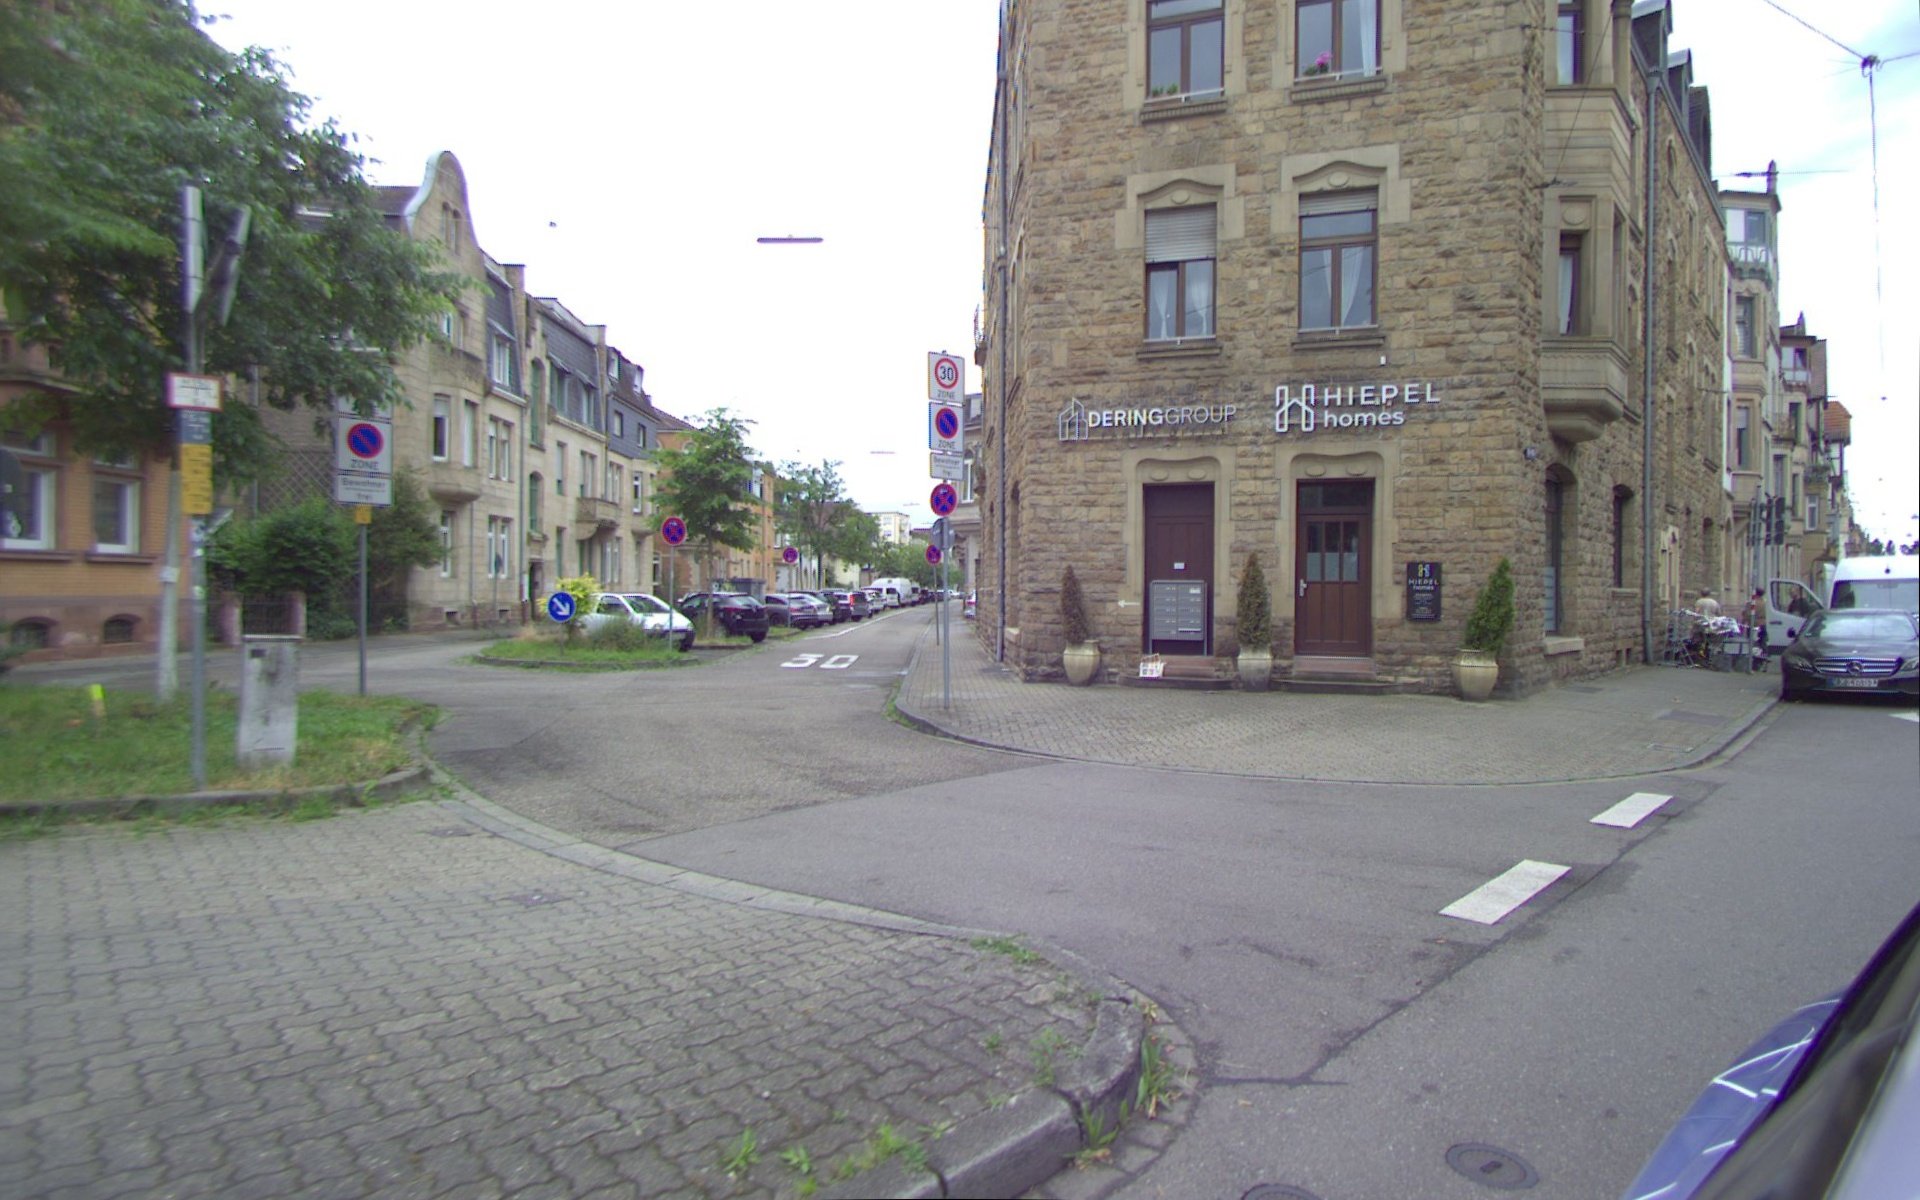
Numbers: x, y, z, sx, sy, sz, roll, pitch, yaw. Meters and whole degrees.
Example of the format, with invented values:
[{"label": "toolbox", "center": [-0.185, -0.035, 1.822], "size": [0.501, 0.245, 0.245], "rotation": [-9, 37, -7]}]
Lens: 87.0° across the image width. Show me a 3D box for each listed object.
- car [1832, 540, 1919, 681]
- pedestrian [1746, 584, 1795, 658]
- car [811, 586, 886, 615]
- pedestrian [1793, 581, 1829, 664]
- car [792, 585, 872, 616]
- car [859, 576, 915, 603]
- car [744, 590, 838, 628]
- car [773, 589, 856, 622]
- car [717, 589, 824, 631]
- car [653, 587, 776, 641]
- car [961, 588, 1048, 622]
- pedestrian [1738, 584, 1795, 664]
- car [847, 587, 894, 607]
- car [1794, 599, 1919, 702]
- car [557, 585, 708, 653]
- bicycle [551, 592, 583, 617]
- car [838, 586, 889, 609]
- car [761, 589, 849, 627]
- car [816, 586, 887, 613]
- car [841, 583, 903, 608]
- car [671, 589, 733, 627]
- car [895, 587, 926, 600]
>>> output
[{"label": "car", "center": [19.767, 0.185, 21.053], "size": [2.013, 2.581, 6.905], "rotation": [-2, -1, 44]}, {"label": "pedestrian", "center": [19.325, 0.490, 24.140], "size": [0.695, 1.721, 0.490], "rotation": [2, 1, 16]}, {"label": "car", "center": [-6.270, 0.011, 56.826], "size": [4.021, 1.529, 1.862], "rotation": [1, 1, 38]}, {"label": "pedestrian", "center": [19.385, 0.491, 23.058], "size": [0.499, 1.837, 0.790], "rotation": [3, 2, 45]}, {"label": "car", "center": [-6.731, 0.006, 53.134], "size": [4.021, 1.529, 1.862], "rotation": [1, 1, 38]}, {"label": "car", "center": [-7.101, -1.068, 98.373], "size": [5.296, 2.534, 2.317], "rotation": [1, 1, 38]}, {"label": "car", "center": [-7.282, 0.368, 43.482], "size": [4.022, 1.451, 1.732], "rotation": [2, 2, 38]}, {"label": "car", "center": [-7.244, 0.262, 50.202], "size": [4.022, 1.451, 1.732], "rotation": [2, 2, 38]}, {"label": "car", "center": [-7.567, 0.363, 40.264], "size": [4.009, 1.451, 1.737], "rotation": [2, 1, 30]}, {"label": "car", "center": [-7.426, 0.375, 30.513], "size": [3.520, 1.451, 1.686], "rotation": [2, 1, 35]}, {"label": "car", "center": [2.077, 0.223, 47.084], "size": [3.971, 1.451, 1.754], "rotation": [2, 1, 4]}, {"label": "pedestrian", "center": [18.066, 0.515, 22.689], "size": [0.858, 1.721, 0.532], "rotation": [3, 2, 30]}, {"label": "car", "center": [-6.987, -0.268, 78.654], "size": [1.851, 1.529, 4.044], "rotation": [0, 1, -34]}, {"label": "car", "center": [15.208, 0.729, 16.695], "size": [1.824, 1.468, 4.926], "rotation": [-1, 0, 44]}, {"label": "car", "center": [-8.097, 0.418, 24.931], "size": [3.516, 1.451, 1.688], "rotation": [2, 1, 32]}, {"label": "bicycle", "center": [-16.377, 0.173, 42.224], "size": [0.558, 1.015, 1.777], "rotation": [0, 0, 4]}, {"label": "car", "center": [-6.768, -0.165, 70.620], "size": [1.851, 1.529, 4.044], "rotation": [0, 1, -34]}, {"label": "car", "center": [-7.190, 0.325, 46.712], "size": [4.022, 1.551, 1.732], "rotation": [2, 1, 38]}, {"label": "car", "center": [-6.451, -0.029, 59.969], "size": [4.021, 1.529, 1.862], "rotation": [1, 1, 38]}, {"label": "car", "center": [-7.768, -0.419, 89.275], "size": [5.296, 2.048, 2.317], "rotation": [1, 1, 38]}, {"label": "car", "center": [-11.054, 0.298, 43.598], "size": [1.721, 1.451, 4.046], "rotation": [1, 1, -1]}, {"label": "car", "center": [-5.819, -0.789, 119.020], "size": [1.851, 1.529, 4.044], "rotation": [0, 1, -34]}]
